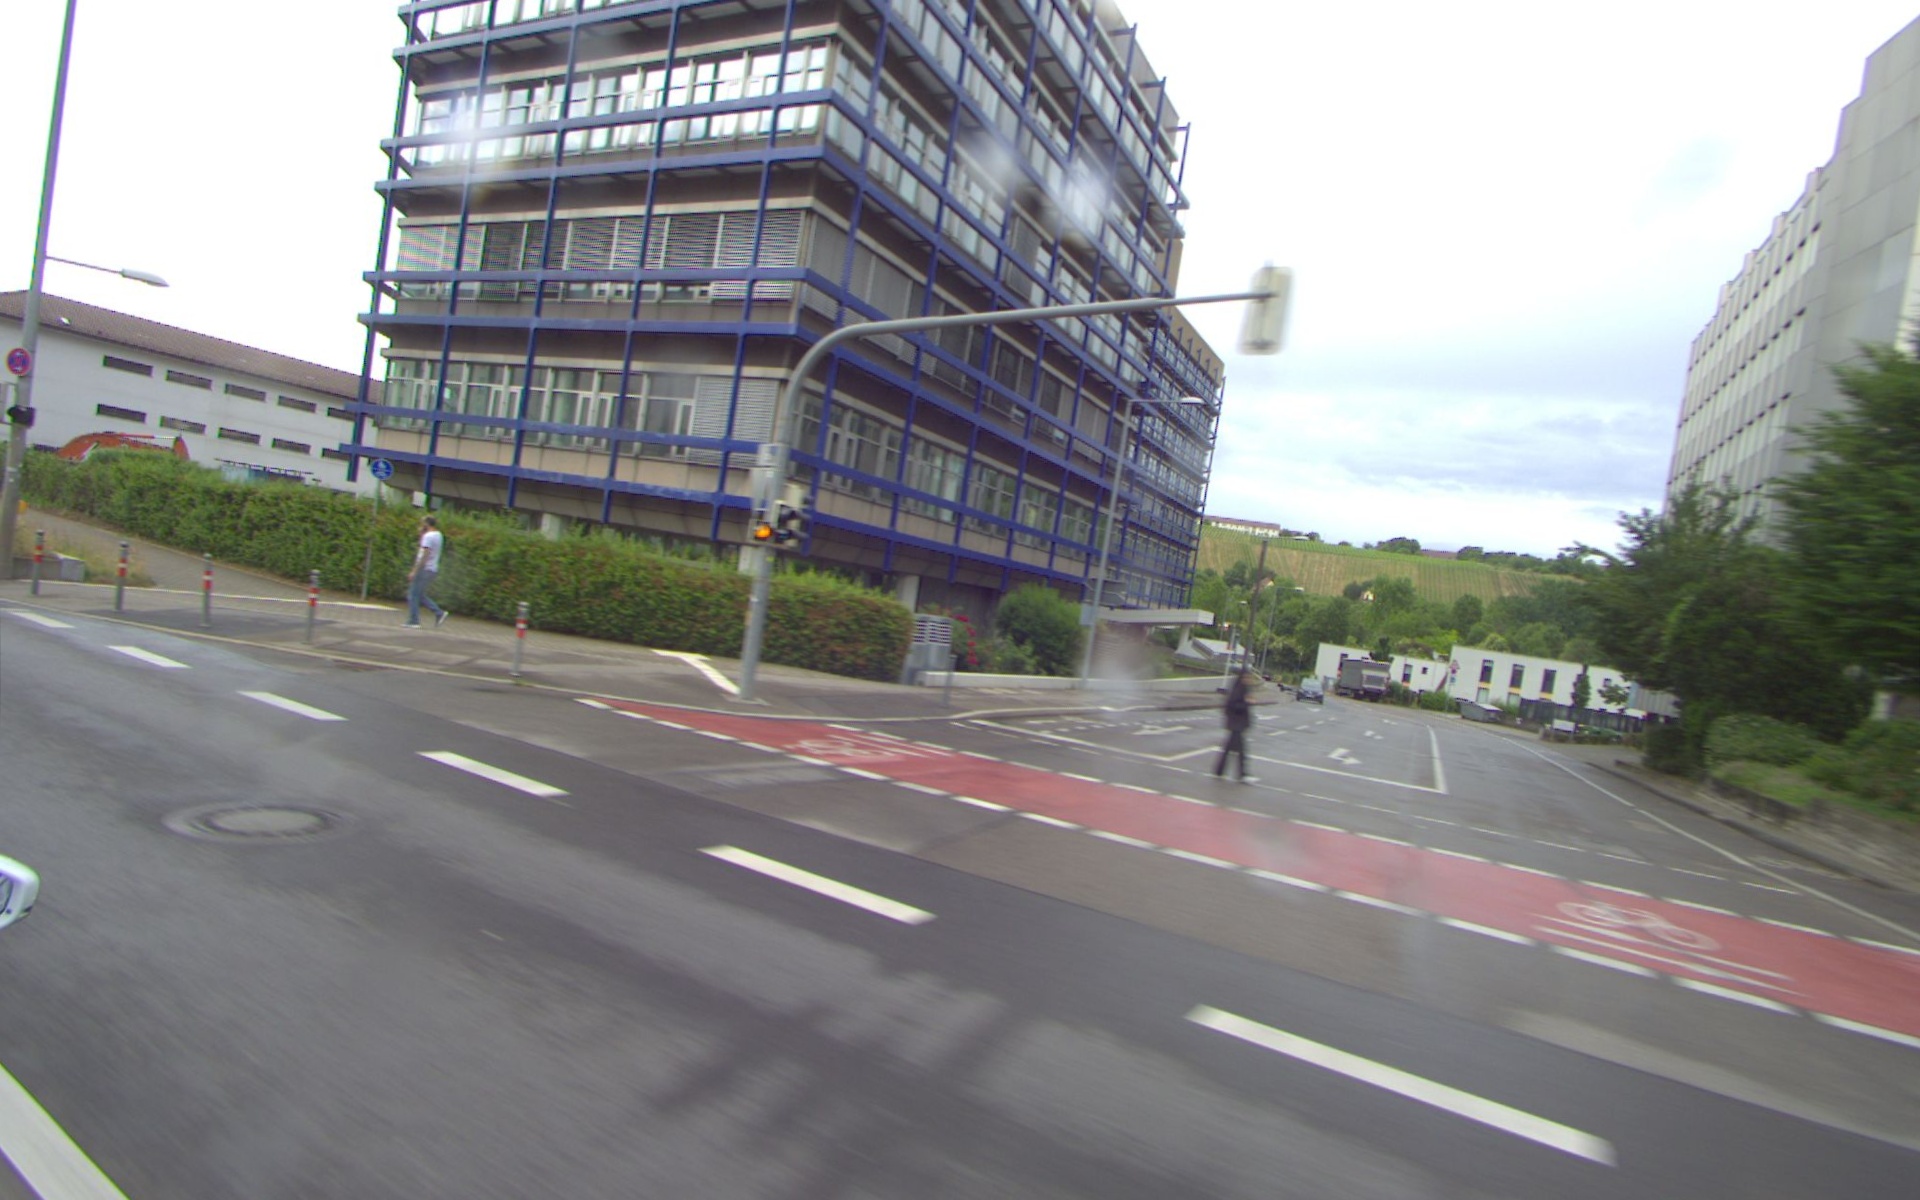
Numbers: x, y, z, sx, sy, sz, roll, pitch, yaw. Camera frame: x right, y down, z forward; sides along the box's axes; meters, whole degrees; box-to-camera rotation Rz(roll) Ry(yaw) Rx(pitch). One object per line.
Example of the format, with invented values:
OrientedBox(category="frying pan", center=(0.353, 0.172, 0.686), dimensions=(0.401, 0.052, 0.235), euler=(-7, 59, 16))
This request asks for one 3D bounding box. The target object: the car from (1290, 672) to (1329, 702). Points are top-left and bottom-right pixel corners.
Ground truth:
OrientedBox(category="car", center=(23.559, 5.855, 67.854), dimensions=(1.962, 1.658, 4.005), euler=(8, -2, 15))

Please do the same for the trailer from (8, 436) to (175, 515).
OrientedBox(category="trailer", center=(-47.714, -6.841, 55.343), dimensions=(7.355, 3.077, 2.650), euler=(8, -1, 10))

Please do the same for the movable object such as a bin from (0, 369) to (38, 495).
OrientedBox(category="movable object such as a bin", center=(-49.470, -8.540, 49.876), dimensions=(8.626, 5.750, 3.294), euler=(7, -1, 35))

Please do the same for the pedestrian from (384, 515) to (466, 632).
OrientedBox(category="pedestrian", center=(-8.217, -0.399, 15.445), dimensions=(0.817, 1.673, 0.555), euler=(8, 1, 23))

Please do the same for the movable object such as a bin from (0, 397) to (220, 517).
OrientedBox(category="movable object such as a bin", center=(-54.084, -8.771, 62.557), dimensions=(3.727, 5.326, 12.152), euler=(7, 0, 32))

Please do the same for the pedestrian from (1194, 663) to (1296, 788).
OrientedBox(category="pedestrian", center=(3.967, 1.739, 14.037), dimensions=(0.891, 1.560, 0.796), euler=(7, 1, -19))
